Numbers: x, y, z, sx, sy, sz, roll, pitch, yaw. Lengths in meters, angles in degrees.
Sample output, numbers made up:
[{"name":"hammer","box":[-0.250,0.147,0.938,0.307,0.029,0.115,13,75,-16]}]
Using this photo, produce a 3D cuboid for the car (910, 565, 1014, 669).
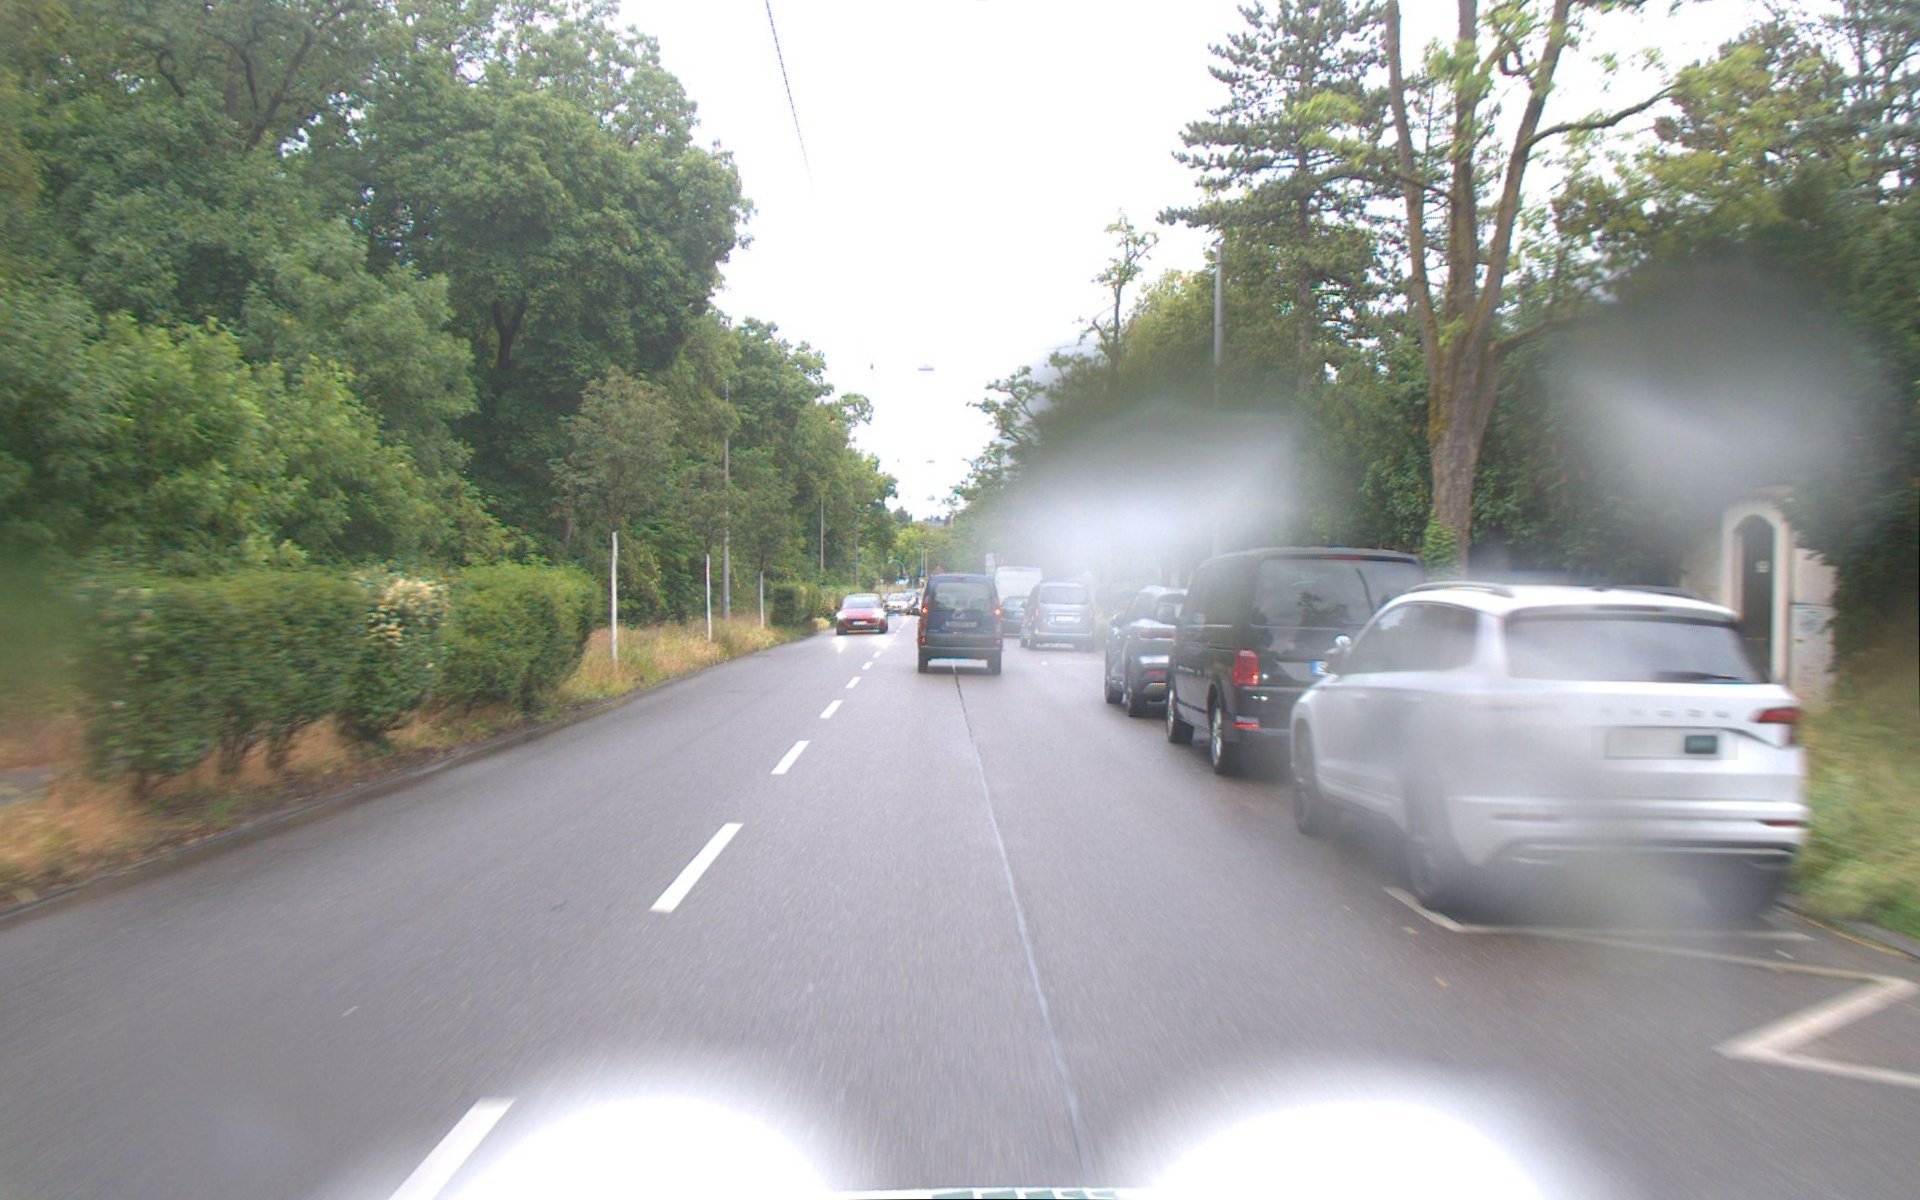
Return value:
[{"name":"car","box":[-0.014,0.281,32.110,1.732,1.862,3.540,2,1,-4]}]

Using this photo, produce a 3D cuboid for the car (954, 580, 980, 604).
[{"name":"car","box":[0.456,-0.555,113.132,1.585,1.534,3.833,2,1,-2]}]

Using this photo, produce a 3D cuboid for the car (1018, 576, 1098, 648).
[{"name":"car","box":[2.682,0.300,46.151,1.778,1.845,4.281,2,1,-3]}]

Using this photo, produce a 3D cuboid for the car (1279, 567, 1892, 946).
[{"name":"car","box":[3.193,0.660,9.477,1.768,1.641,4.285,2,1,-1]}]

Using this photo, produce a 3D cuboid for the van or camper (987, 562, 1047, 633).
[{"name":"van or camper","box":[2.247,-0.135,66.555,2.036,2.696,5.345,2,1,-1]}]

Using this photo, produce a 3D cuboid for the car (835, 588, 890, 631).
[{"name":"car","box":[-3.590,0.335,61.699,1.822,1.506,4.156,-1,0,-1]}]

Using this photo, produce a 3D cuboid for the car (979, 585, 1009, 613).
[{"name":"car","box":[2.040,-0.082,99.550,1.686,1.532,4.050,2,1,0]}]

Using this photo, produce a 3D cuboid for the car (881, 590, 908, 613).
[{"name":"car","box":[-4.514,0.098,114.352,1.747,1.505,3.966,0,-1,-1]}]

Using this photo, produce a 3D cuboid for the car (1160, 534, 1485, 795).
[{"name":"car","box":[3.221,0.479,15.804,1.953,2.048,4.888,2,1,-1]}]

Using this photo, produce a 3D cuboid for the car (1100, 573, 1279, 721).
[{"name":"car","box":[2.986,0.539,22.355,1.737,1.753,4.326,2,1,-1]}]

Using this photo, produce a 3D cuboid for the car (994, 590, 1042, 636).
[{"name":"car","box":[2.069,0.441,58.868,1.592,1.489,3.809,2,1,2]}]
